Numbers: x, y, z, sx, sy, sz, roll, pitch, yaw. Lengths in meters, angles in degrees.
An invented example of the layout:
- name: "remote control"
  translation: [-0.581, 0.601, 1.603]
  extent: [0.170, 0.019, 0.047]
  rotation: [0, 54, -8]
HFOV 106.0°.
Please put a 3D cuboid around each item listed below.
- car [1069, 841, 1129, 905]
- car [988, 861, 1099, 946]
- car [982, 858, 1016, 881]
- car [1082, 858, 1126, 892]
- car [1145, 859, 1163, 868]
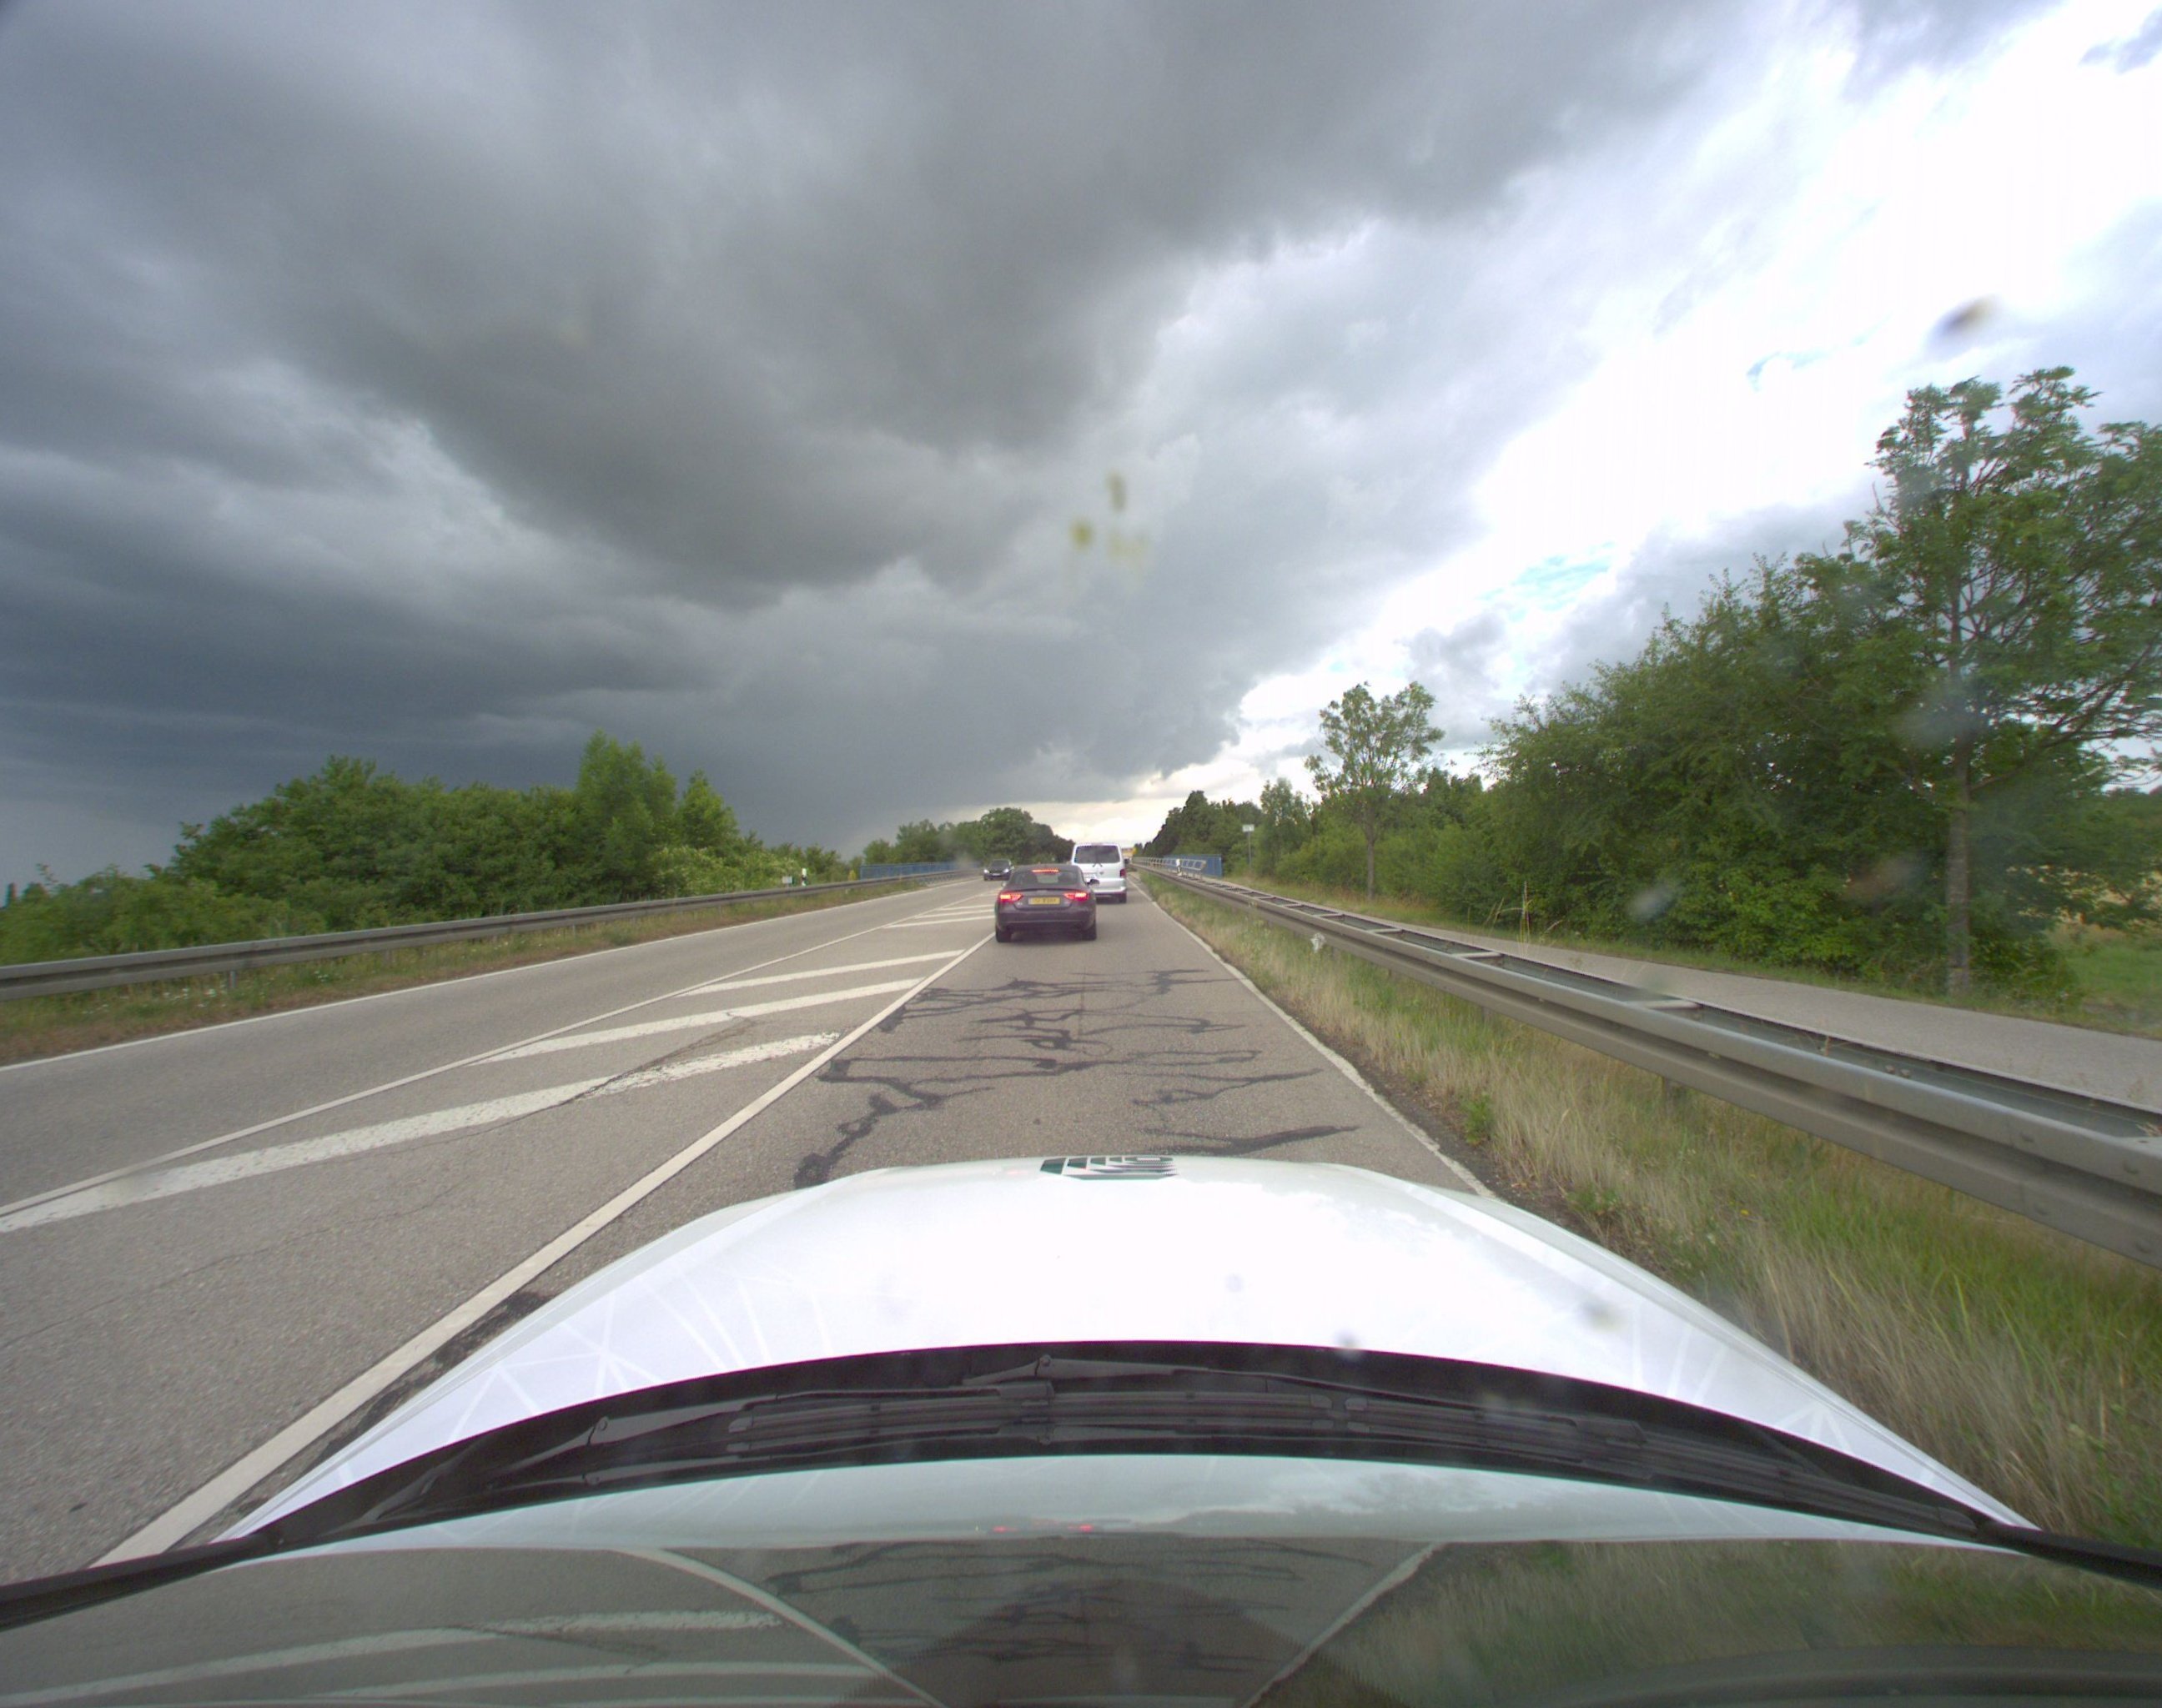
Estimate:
- name: "car"
  translation: [0.617, 0.603, 27.461]
  extent: [1.822, 1.935, 4.001]
  rotation: [-2, -1, 1]
- name: "car"
  translation: [-0.590, 0.863, 15.850]
  extent: [1.815, 1.381, 4.073]
  rotation: [-2, -1, 1]
- name: "car"
  translation: [-5.667, 1.050, 56.793]
  extent: [1.793, 1.450, 4.445]
  rotation: [-2, -1, 0]
- name: "car"
  translation: [1.083, 0.877, 36.231]
  extent: [1.814, 1.381, 4.074]
  rotation: [-2, 0, 3]
- name: "car"
  translation: [17.947, 2.371, 200.624]
  extent: [3.948, 2.014, 2.013]
  rotation: [-1, -1, 35]
